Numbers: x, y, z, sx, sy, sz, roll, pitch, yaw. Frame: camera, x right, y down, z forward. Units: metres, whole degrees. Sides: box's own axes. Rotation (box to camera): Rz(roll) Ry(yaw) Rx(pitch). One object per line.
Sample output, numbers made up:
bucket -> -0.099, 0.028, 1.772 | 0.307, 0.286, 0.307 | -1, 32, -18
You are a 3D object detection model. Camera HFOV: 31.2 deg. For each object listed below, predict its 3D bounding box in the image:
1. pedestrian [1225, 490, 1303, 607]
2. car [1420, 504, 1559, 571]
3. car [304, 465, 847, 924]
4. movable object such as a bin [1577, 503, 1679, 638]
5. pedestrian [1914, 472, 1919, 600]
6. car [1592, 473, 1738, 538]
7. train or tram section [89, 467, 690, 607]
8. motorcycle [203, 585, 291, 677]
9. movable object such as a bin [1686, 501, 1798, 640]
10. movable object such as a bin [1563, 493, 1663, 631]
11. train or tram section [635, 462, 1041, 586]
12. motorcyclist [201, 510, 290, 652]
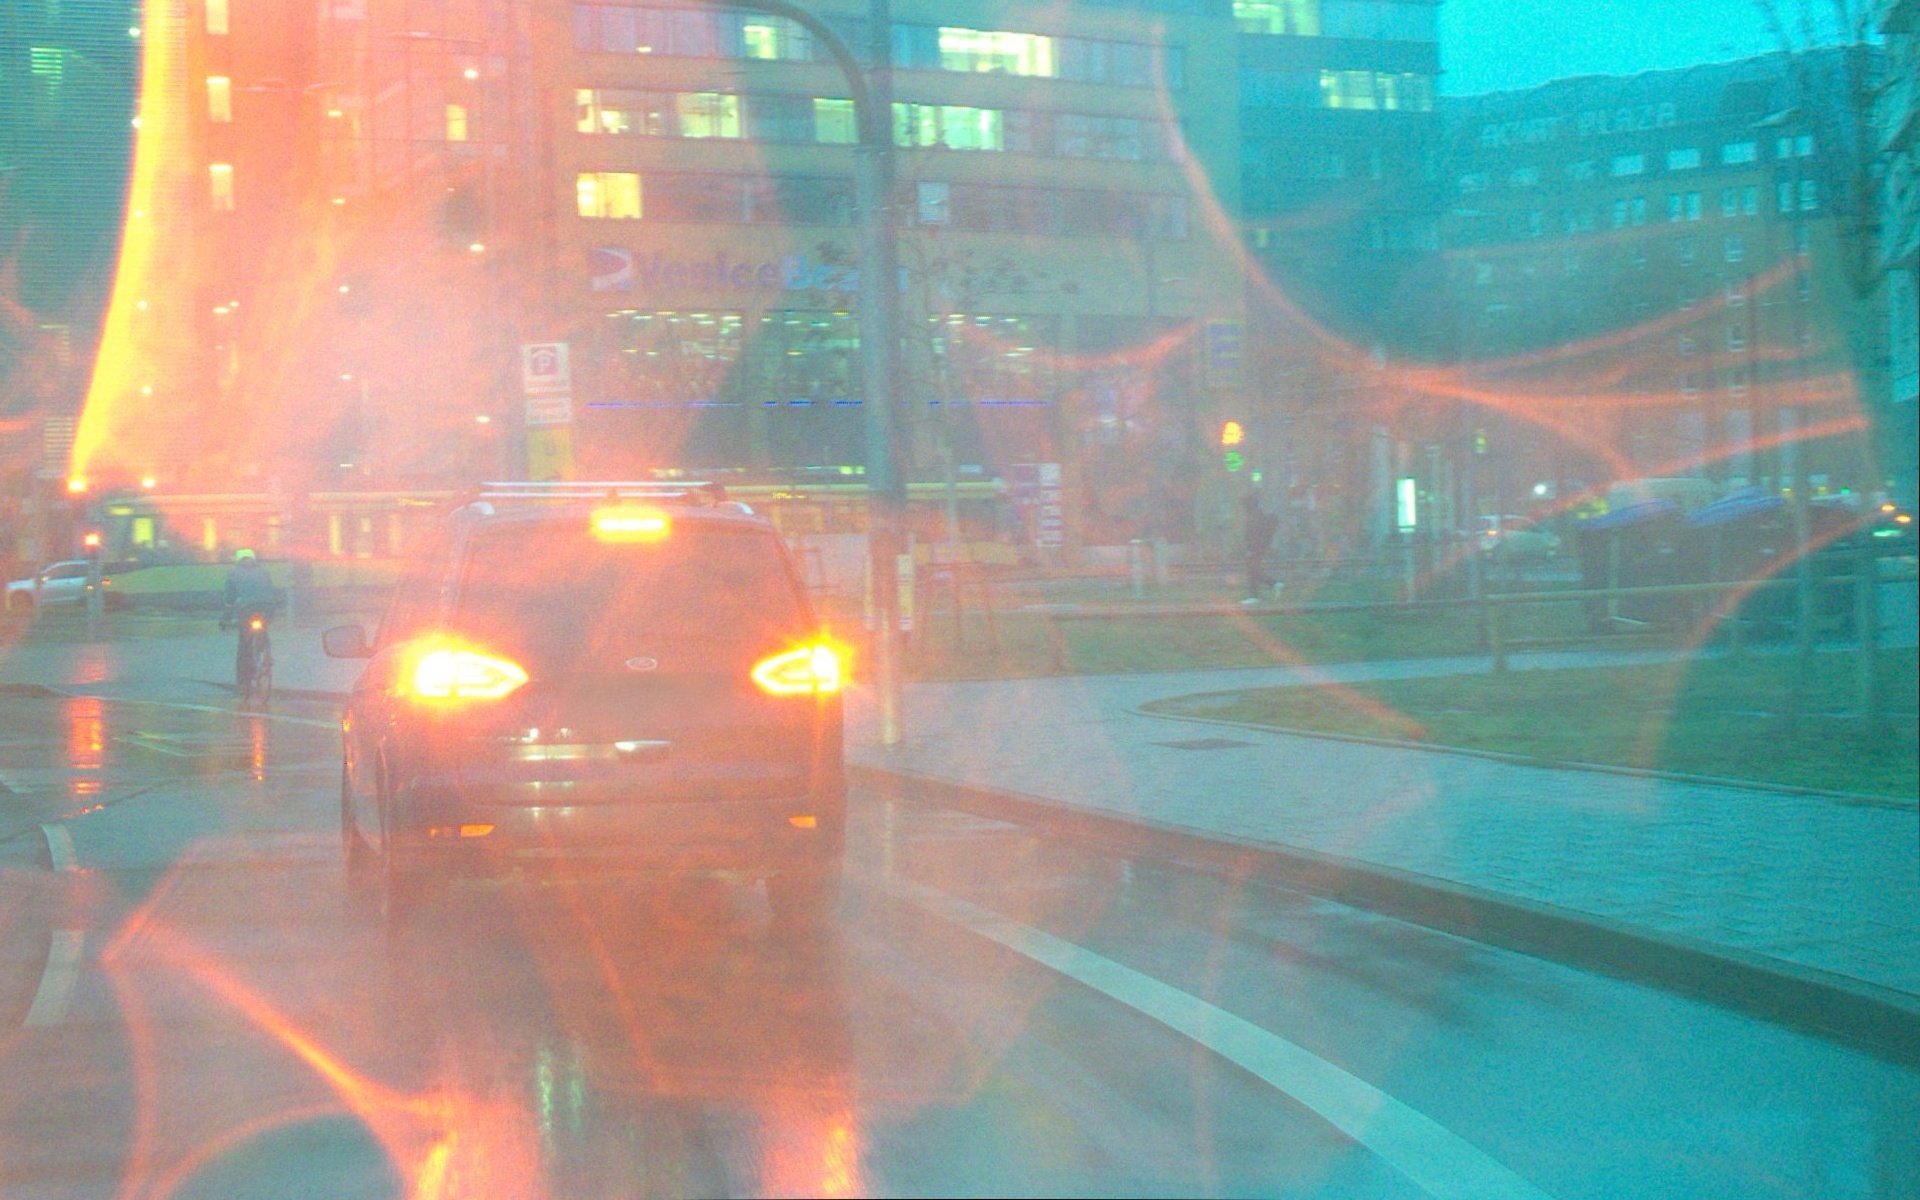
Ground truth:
pedestrian -> 5.041, -0.852, 57.117 | 1.170, 1.917, 0.898 | 1, 0, -2
car -> 16.463, -1.926, 106.798 | 3.987, 2.007, 2.000 | 0, 0, -35
car -> -1.847, 0.353, 15.245 | 1.734, 1.732, 4.248 | 0, 0, -15
movable object such as a bin -> 7.360, -0.339, 37.835 | 1.014, 1.411, 1.223 | -3, 1, 13
pedestrian -> 13.126, -0.846, 45.796 | 0.675, 1.708, 0.606 | 1, 0, 5
car -> 23.144, -3.082, 112.771 | 4.934, 2.007, 1.999 | 0, 0, -39
train or tram section -> -14.648, -1.750, 90.533 | 16.612, 3.249, 2.336 | -3, 1, -40
motorcycle -> -7.961, 0.338, 38.444 | 0.852, 0.968, 1.582 | -2, 1, -9
movable object such as a bin -> 8.522, -0.318, 37.456 | 1.035, 1.485, 1.039 | 1, 0, 21
movable object such as a bin -> 7.451, -0.443, 39.181 | 1.028, 1.490, 1.328 | -2, 2, 13
train or tram section -> -3.339, -2.259, 99.696 | 12.963, 3.249, 2.336 | -3, 1, -40
motorcyclist -> -7.977, -0.218, 38.437 | 0.868, 1.529, 1.108 | -2, 1, -9
